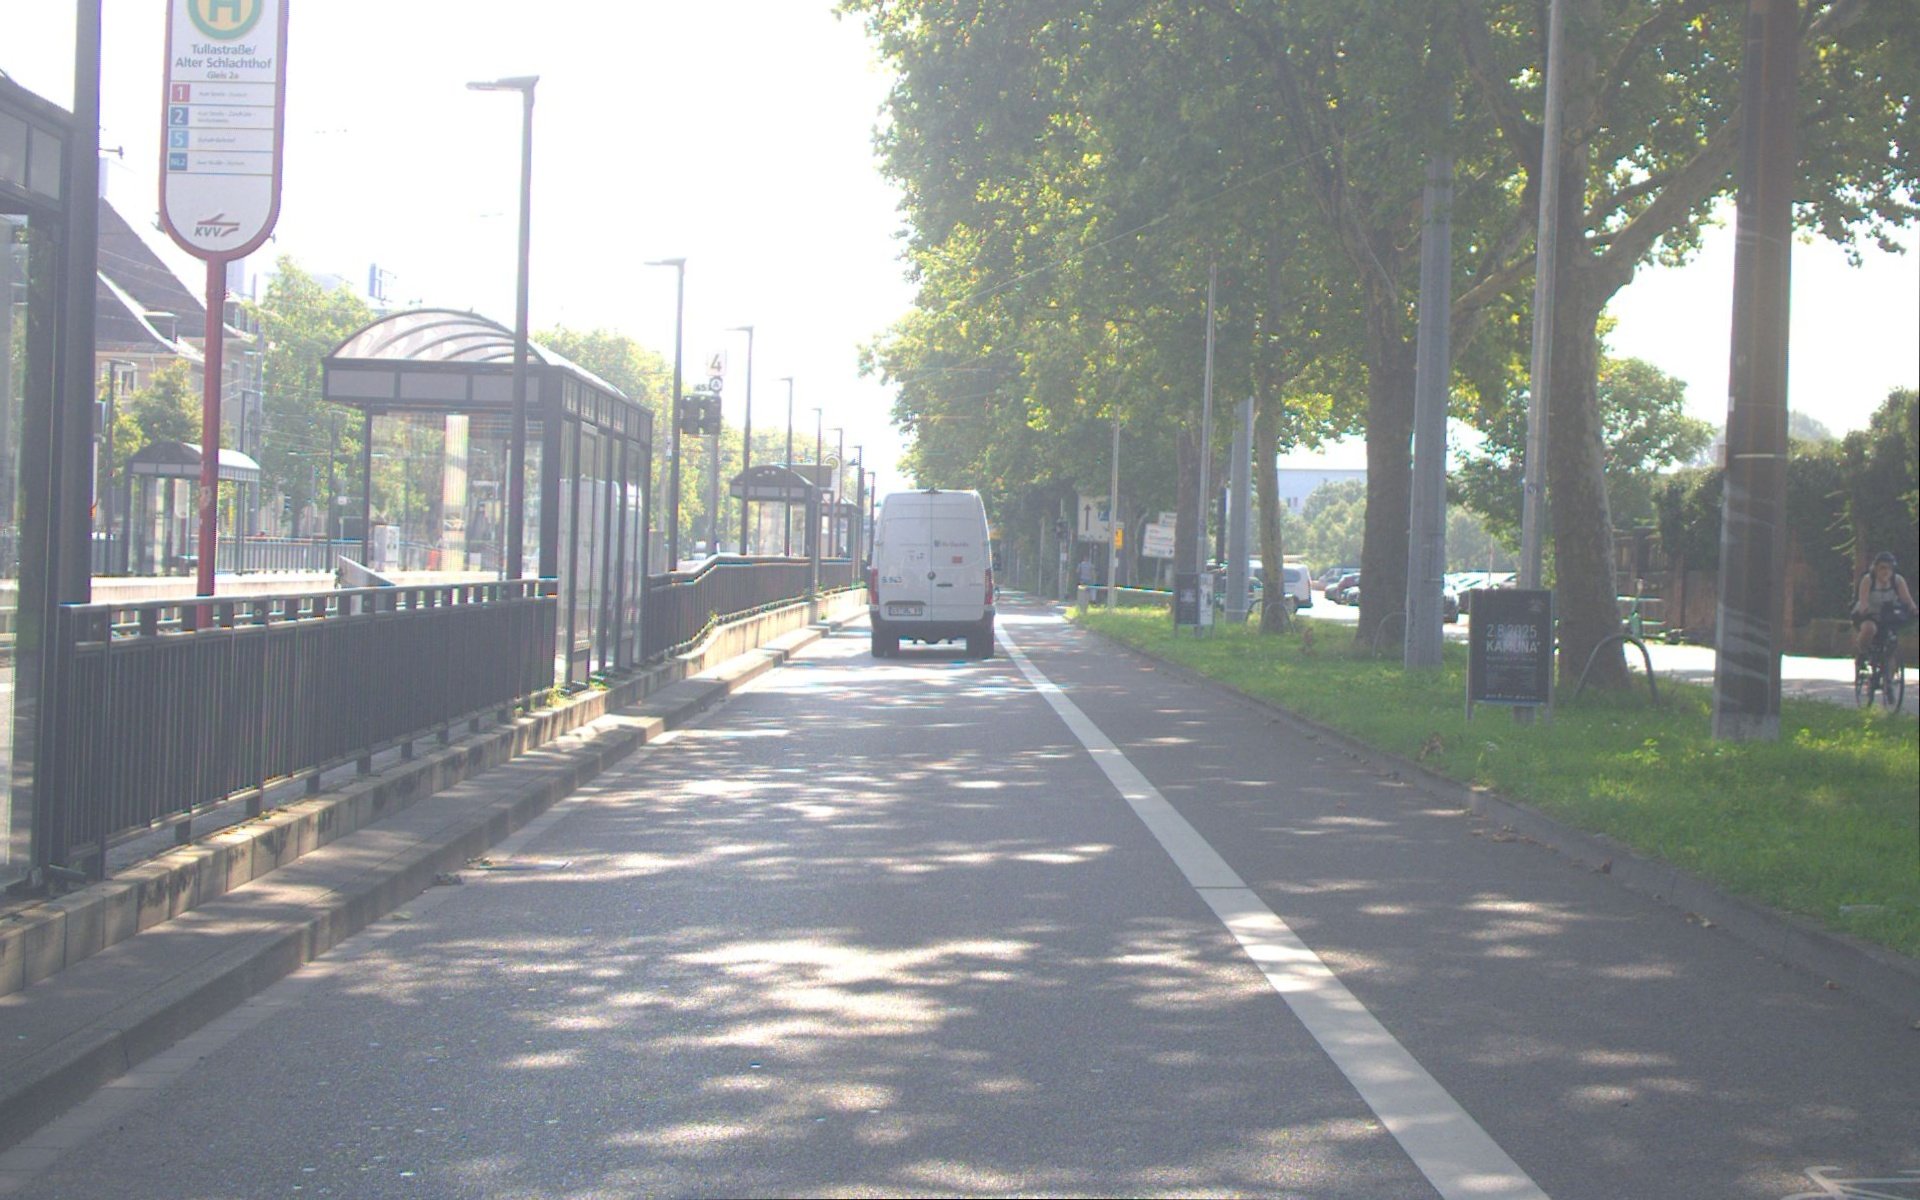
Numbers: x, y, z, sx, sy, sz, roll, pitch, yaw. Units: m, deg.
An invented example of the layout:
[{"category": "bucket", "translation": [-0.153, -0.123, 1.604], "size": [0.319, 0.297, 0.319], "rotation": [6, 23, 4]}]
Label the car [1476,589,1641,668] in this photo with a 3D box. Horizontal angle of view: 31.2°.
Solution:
[{"category": "car", "translation": [16.098, 0.752, 92.551], "size": [3.987, 1.875, 2.000], "rotation": [3, 0, 0]}]

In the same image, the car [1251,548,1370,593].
[{"category": "car", "translation": [12.580, -1.039, 123.483], "size": [3.987, 1.371, 2.000], "rotation": [3, 0, 0]}]

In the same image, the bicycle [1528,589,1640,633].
[{"category": "bicycle", "translation": [12.774, 0.228, 70.396], "size": [2.180, 0.844, 0.503], "rotation": [1, 1, 0]}]

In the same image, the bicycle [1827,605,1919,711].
[{"category": "bicycle", "translation": [9.506, 0.576, 35.099], "size": [0.681, 1.002, 2.218], "rotation": [1, 1, -1]}]

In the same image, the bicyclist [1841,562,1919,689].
[{"category": "bicyclist", "translation": [9.477, 0.255, 35.238], "size": [0.669, 1.272, 0.728], "rotation": [1, 1, -1]}]

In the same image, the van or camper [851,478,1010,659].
[{"category": "van or camper", "translation": [-0.541, -0.531, 56.086], "size": [2.115, 2.673, 5.251], "rotation": [4, 1, -4]}]
